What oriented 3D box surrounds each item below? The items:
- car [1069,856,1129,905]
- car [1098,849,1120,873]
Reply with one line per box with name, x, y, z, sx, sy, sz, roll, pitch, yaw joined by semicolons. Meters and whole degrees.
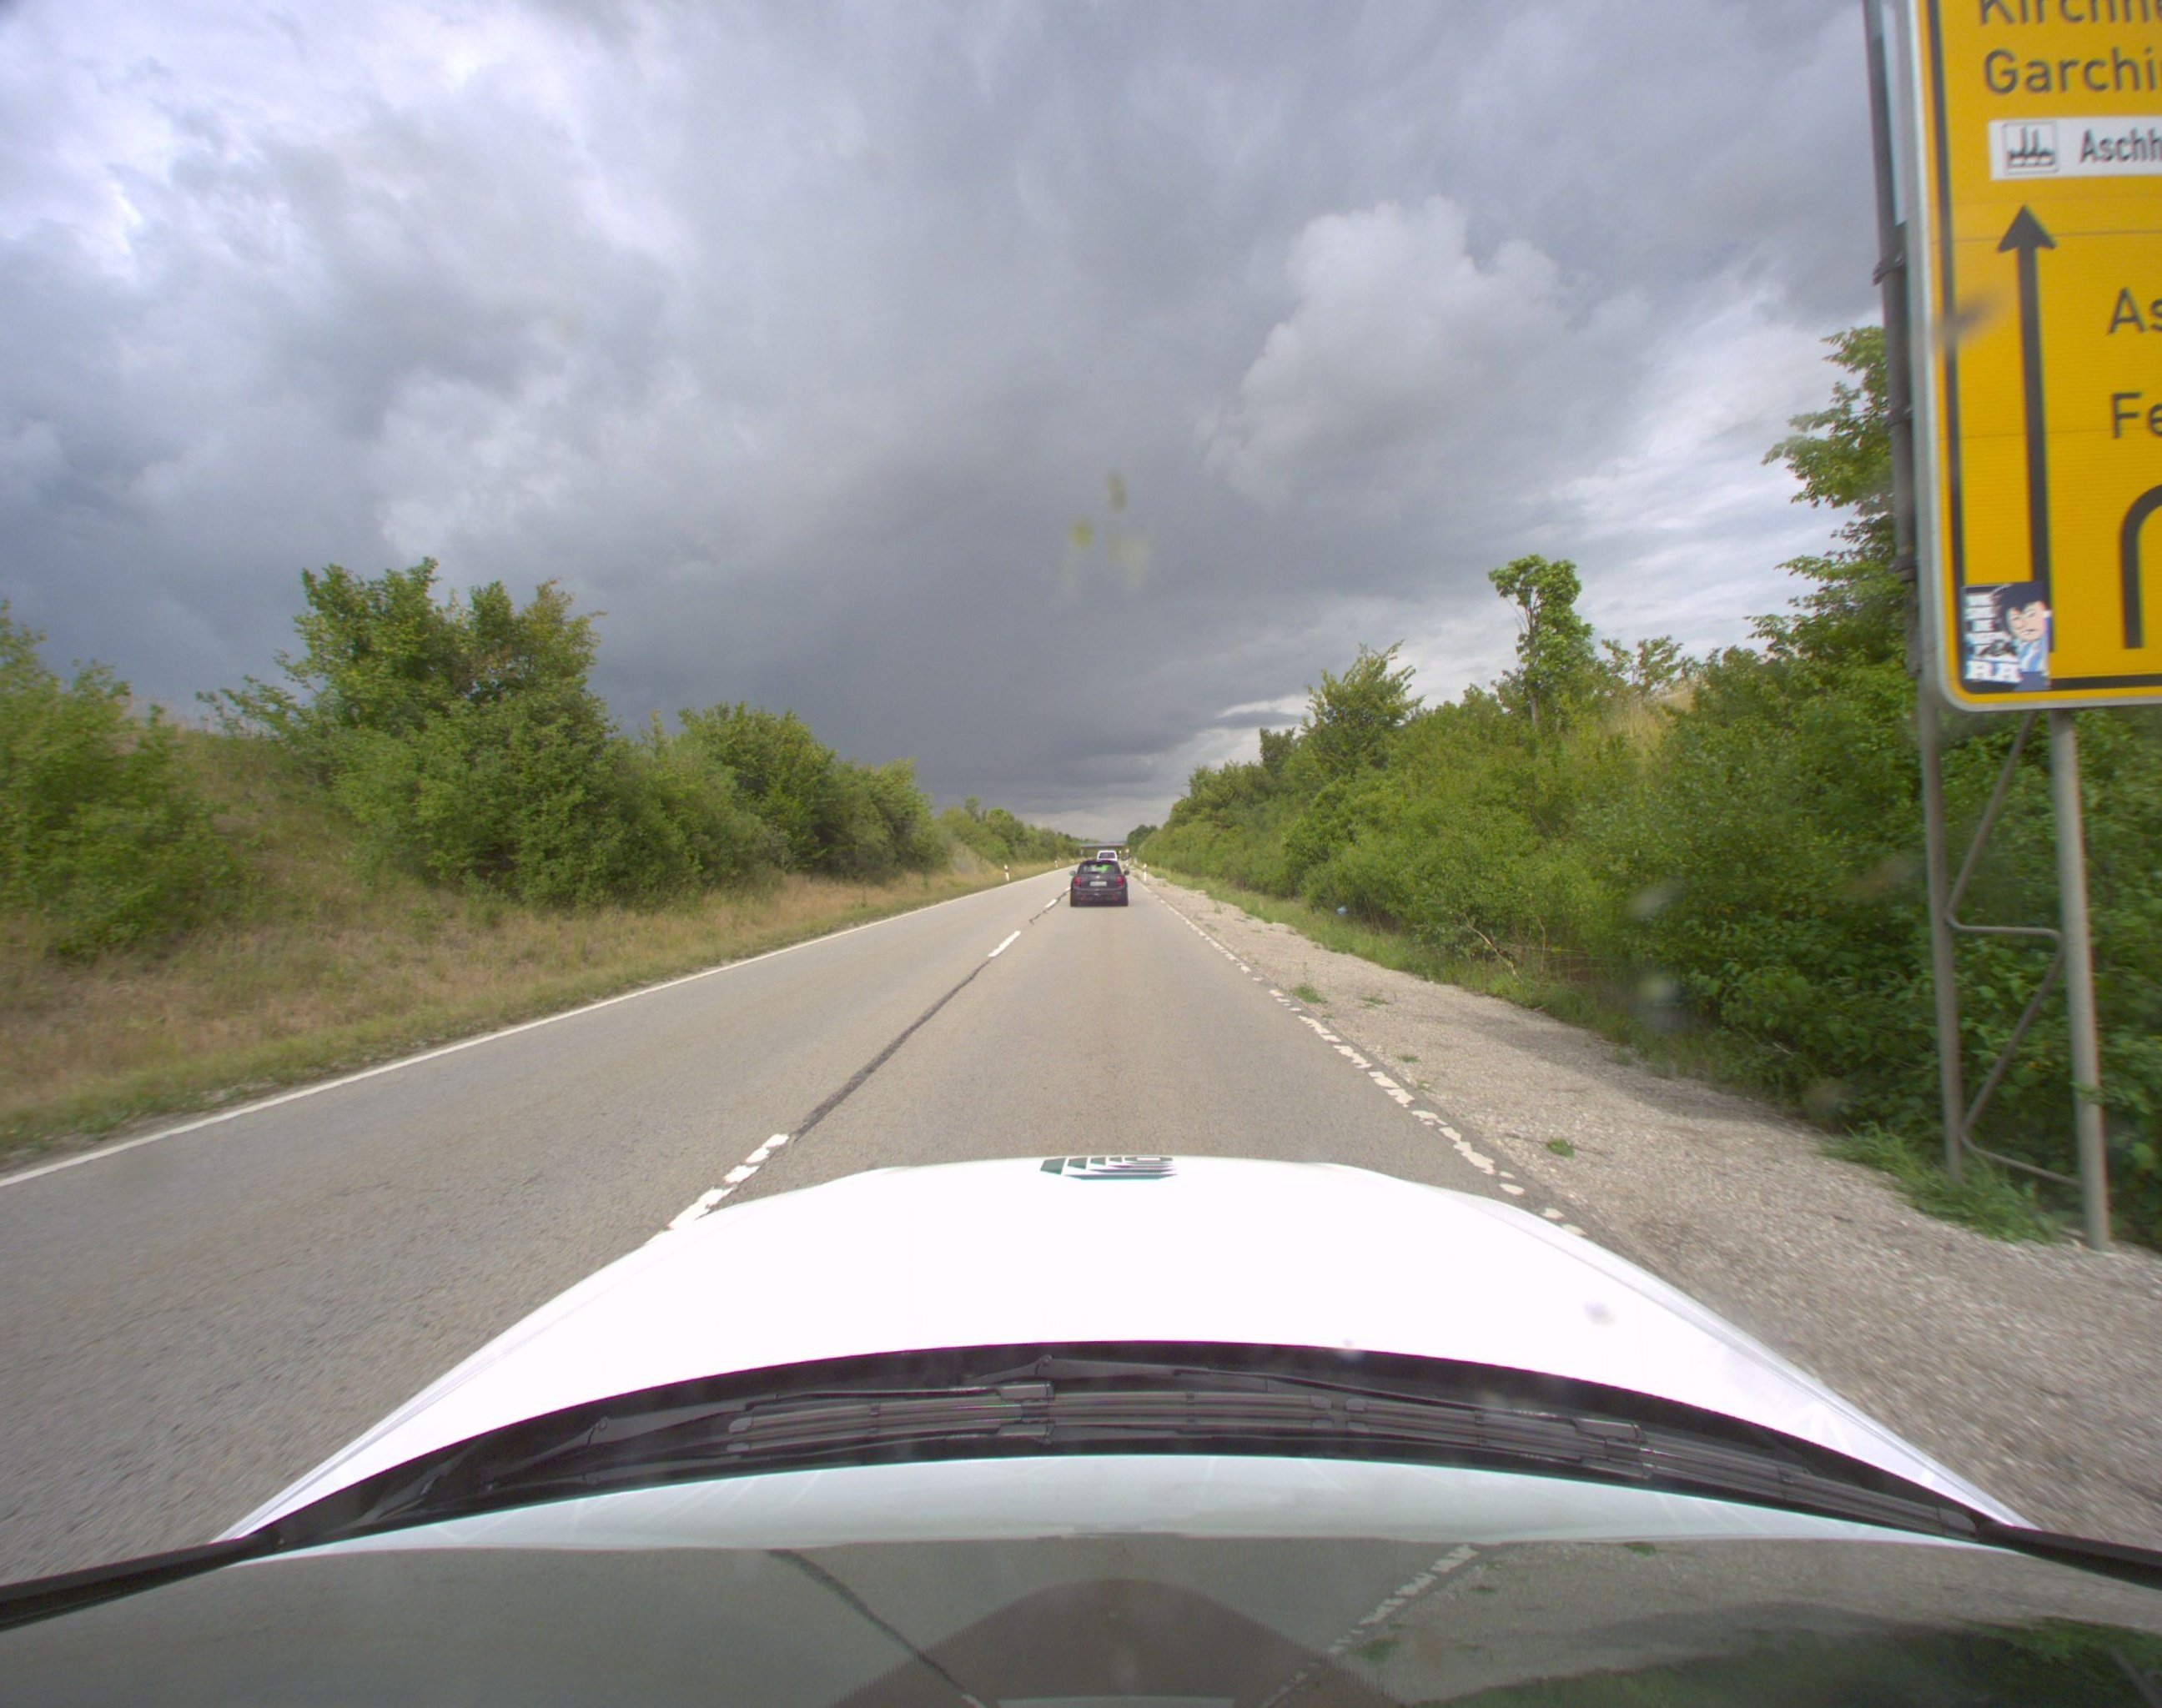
car;0.584;0.776;25.663;1.750;1.427;4.001;0;0;1
car;2.426;0.584;71.088;1.813;2.054;4.001;0;0;1
